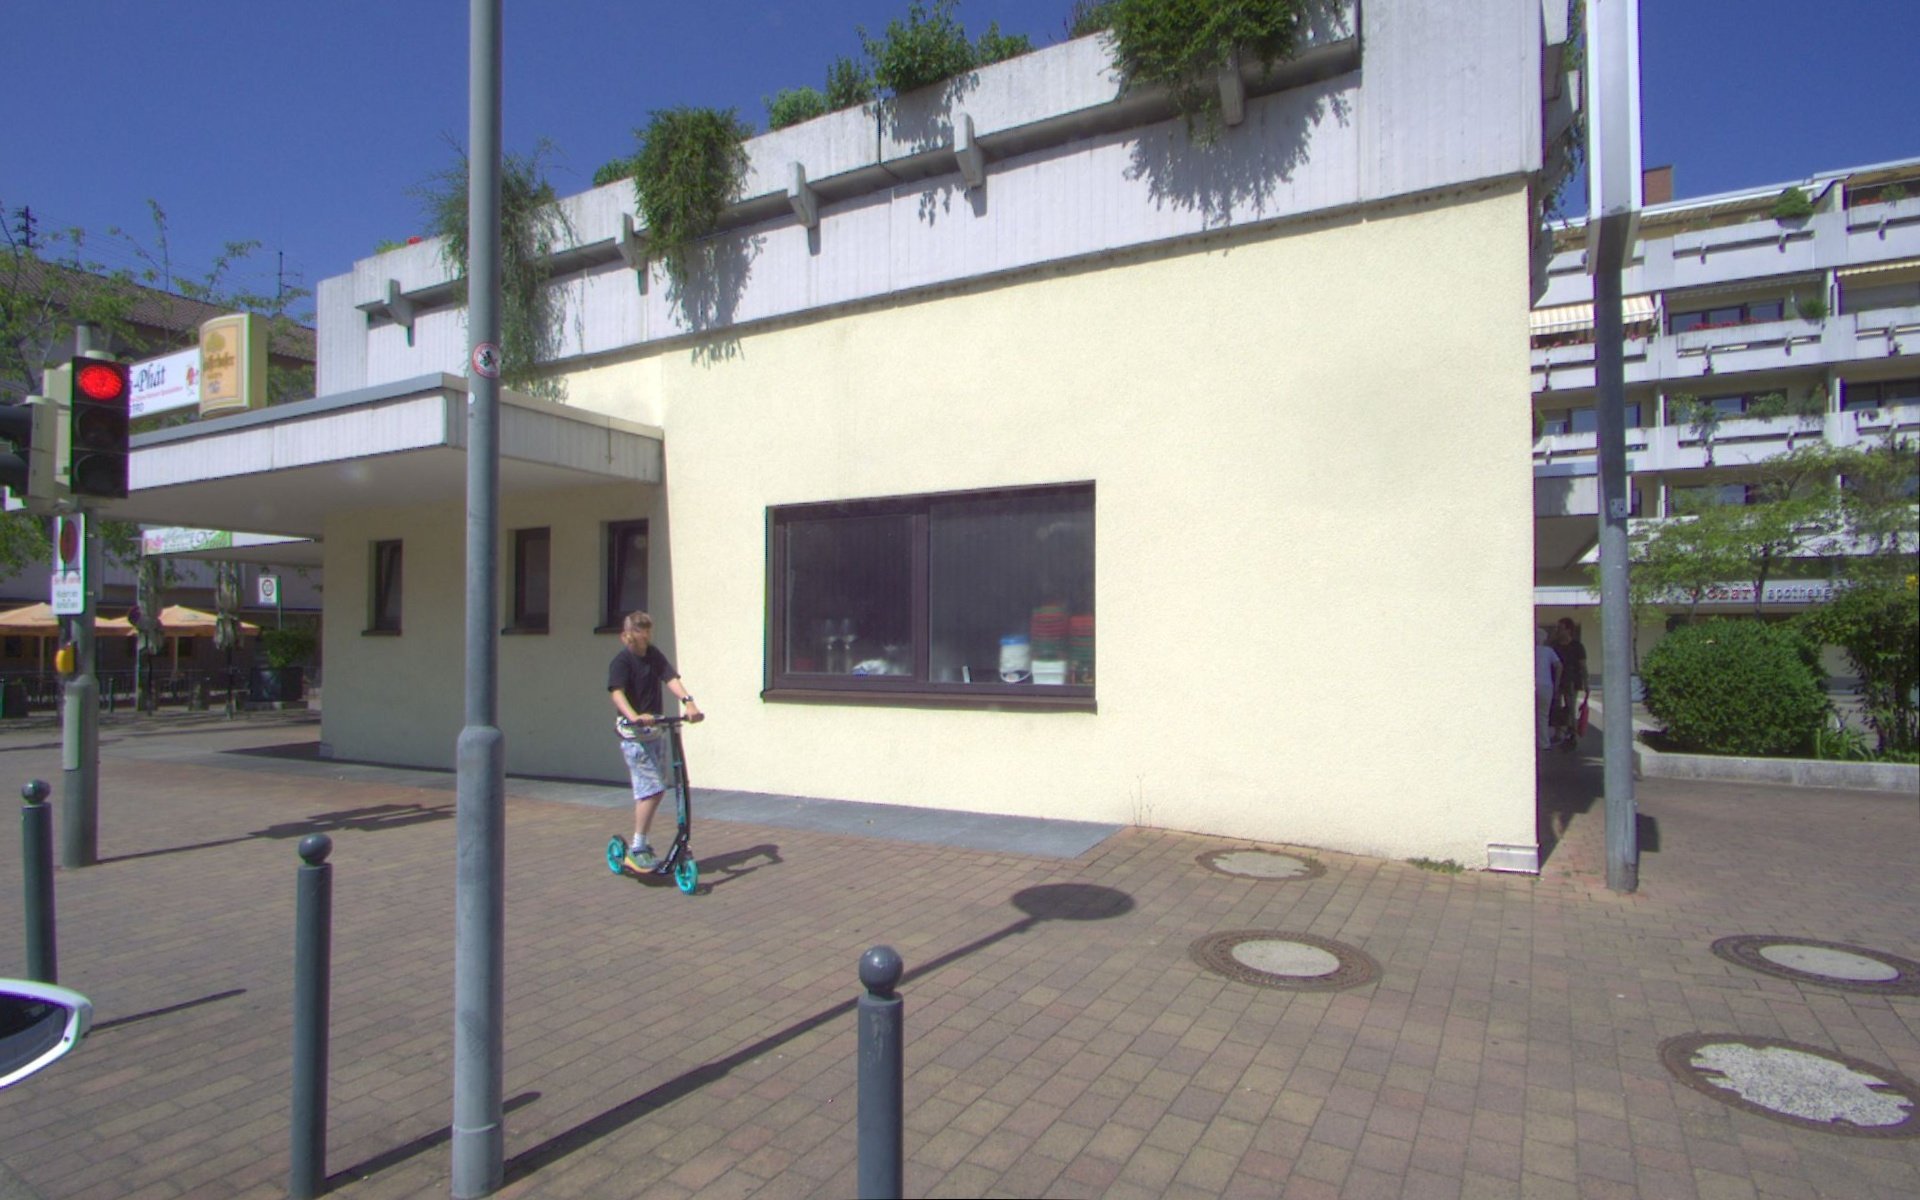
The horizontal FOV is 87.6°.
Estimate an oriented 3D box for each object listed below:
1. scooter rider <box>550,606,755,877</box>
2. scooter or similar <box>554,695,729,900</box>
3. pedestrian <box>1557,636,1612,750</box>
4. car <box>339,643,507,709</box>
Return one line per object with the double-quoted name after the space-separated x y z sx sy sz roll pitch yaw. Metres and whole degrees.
-1.688 0.718 5.465 1.117 1.341 0.460 -1 -1 33 "scooter rider"
-1.743 1.031 5.456 0.947 0.977 0.410 -1 -2 34 "scooter or similar"
8.448 1.232 13.558 0.596 1.482 0.791 -1 -2 32 "pedestrian"
-13.442 1.882 25.052 3.909 1.528 1.767 -2 -3 26 "car"
